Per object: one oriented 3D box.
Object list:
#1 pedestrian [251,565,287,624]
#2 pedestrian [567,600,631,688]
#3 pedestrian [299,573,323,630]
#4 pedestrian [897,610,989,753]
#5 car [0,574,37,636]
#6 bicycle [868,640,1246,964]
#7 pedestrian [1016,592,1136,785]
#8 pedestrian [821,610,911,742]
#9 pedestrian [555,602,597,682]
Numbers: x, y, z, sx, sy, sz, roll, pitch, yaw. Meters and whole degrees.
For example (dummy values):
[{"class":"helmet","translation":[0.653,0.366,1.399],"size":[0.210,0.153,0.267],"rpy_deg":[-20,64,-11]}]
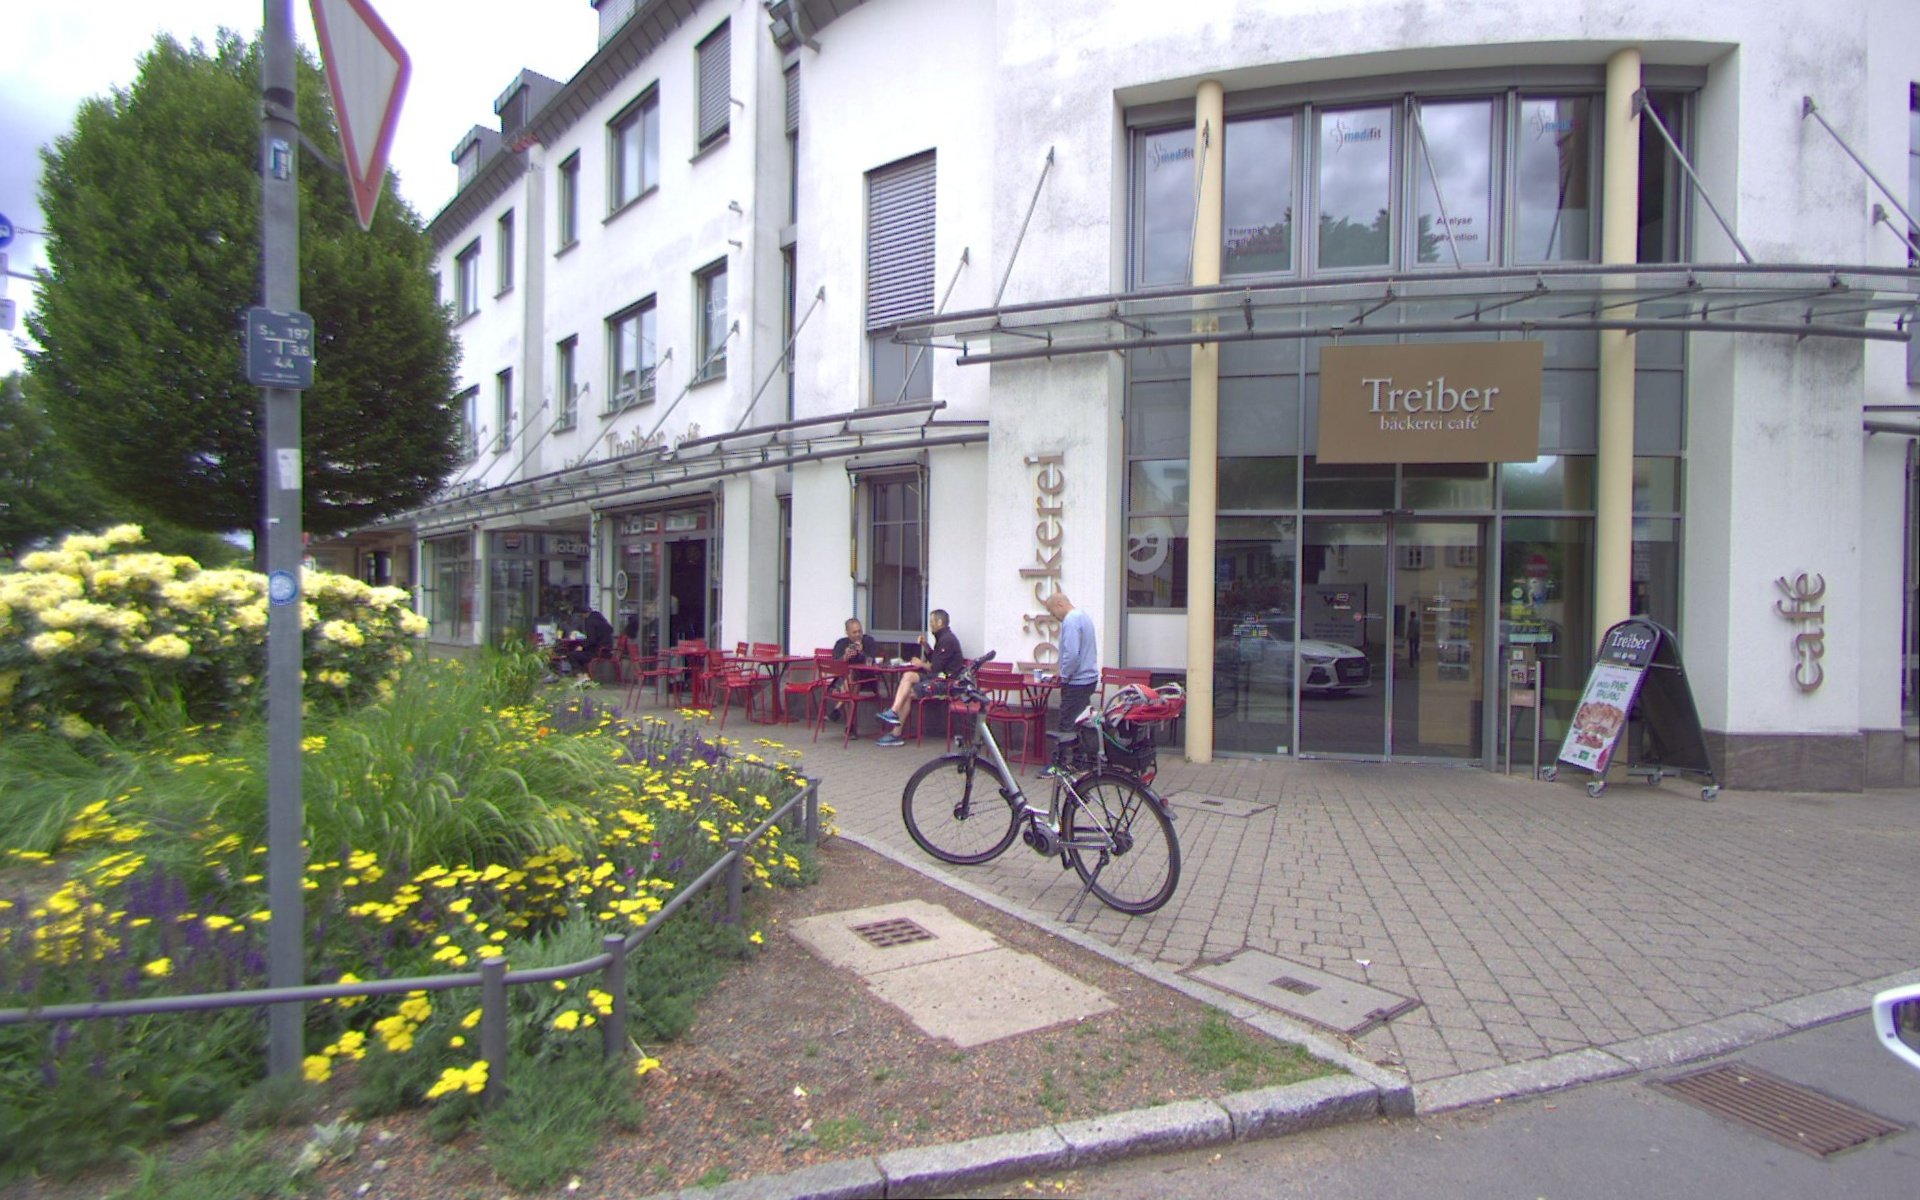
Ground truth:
[{"class":"pedestrian","translation":[-24.402,-0.205,35.463],"size":[1.021,2.040,0.886],"rpy_deg":[0,0,-38]},{"class":"pedestrian","translation":[-5.697,0.686,15.853],"size":[0.759,1.335,0.561],"rpy_deg":[3,-1,-42]},{"class":"pedestrian","translation":[-23.395,0.061,36.211],"size":[0.664,2.040,0.628],"rpy_deg":[0,1,-38]},{"class":"pedestrian","translation":[-0.172,0.791,10.148],"size":[0.646,1.359,0.694],"rpy_deg":[1,1,35]},{"class":"car","translation":[-28.715,0.102,29.314],"size":[2.021,1.698,4.330],"rpy_deg":[0,2,-35]},{"class":"bicycle","translation":[0.414,0.895,5.221],"size":[0.739,1.256,1.955],"rpy_deg":[0,1,-42]},{"class":"pedestrian","translation":[1.002,0.704,8.597],"size":[0.691,1.546,0.864],"rpy_deg":[1,1,35]},{"class":"pedestrian","translation":[-1.014,0.793,10.864],"size":[0.691,1.350,0.682],"rpy_deg":[1,1,35]},{"class":"pedestrian","translation":[-6.352,0.683,16.616],"size":[0.498,1.288,0.486],"rpy_deg":[0,1,-42]}]
